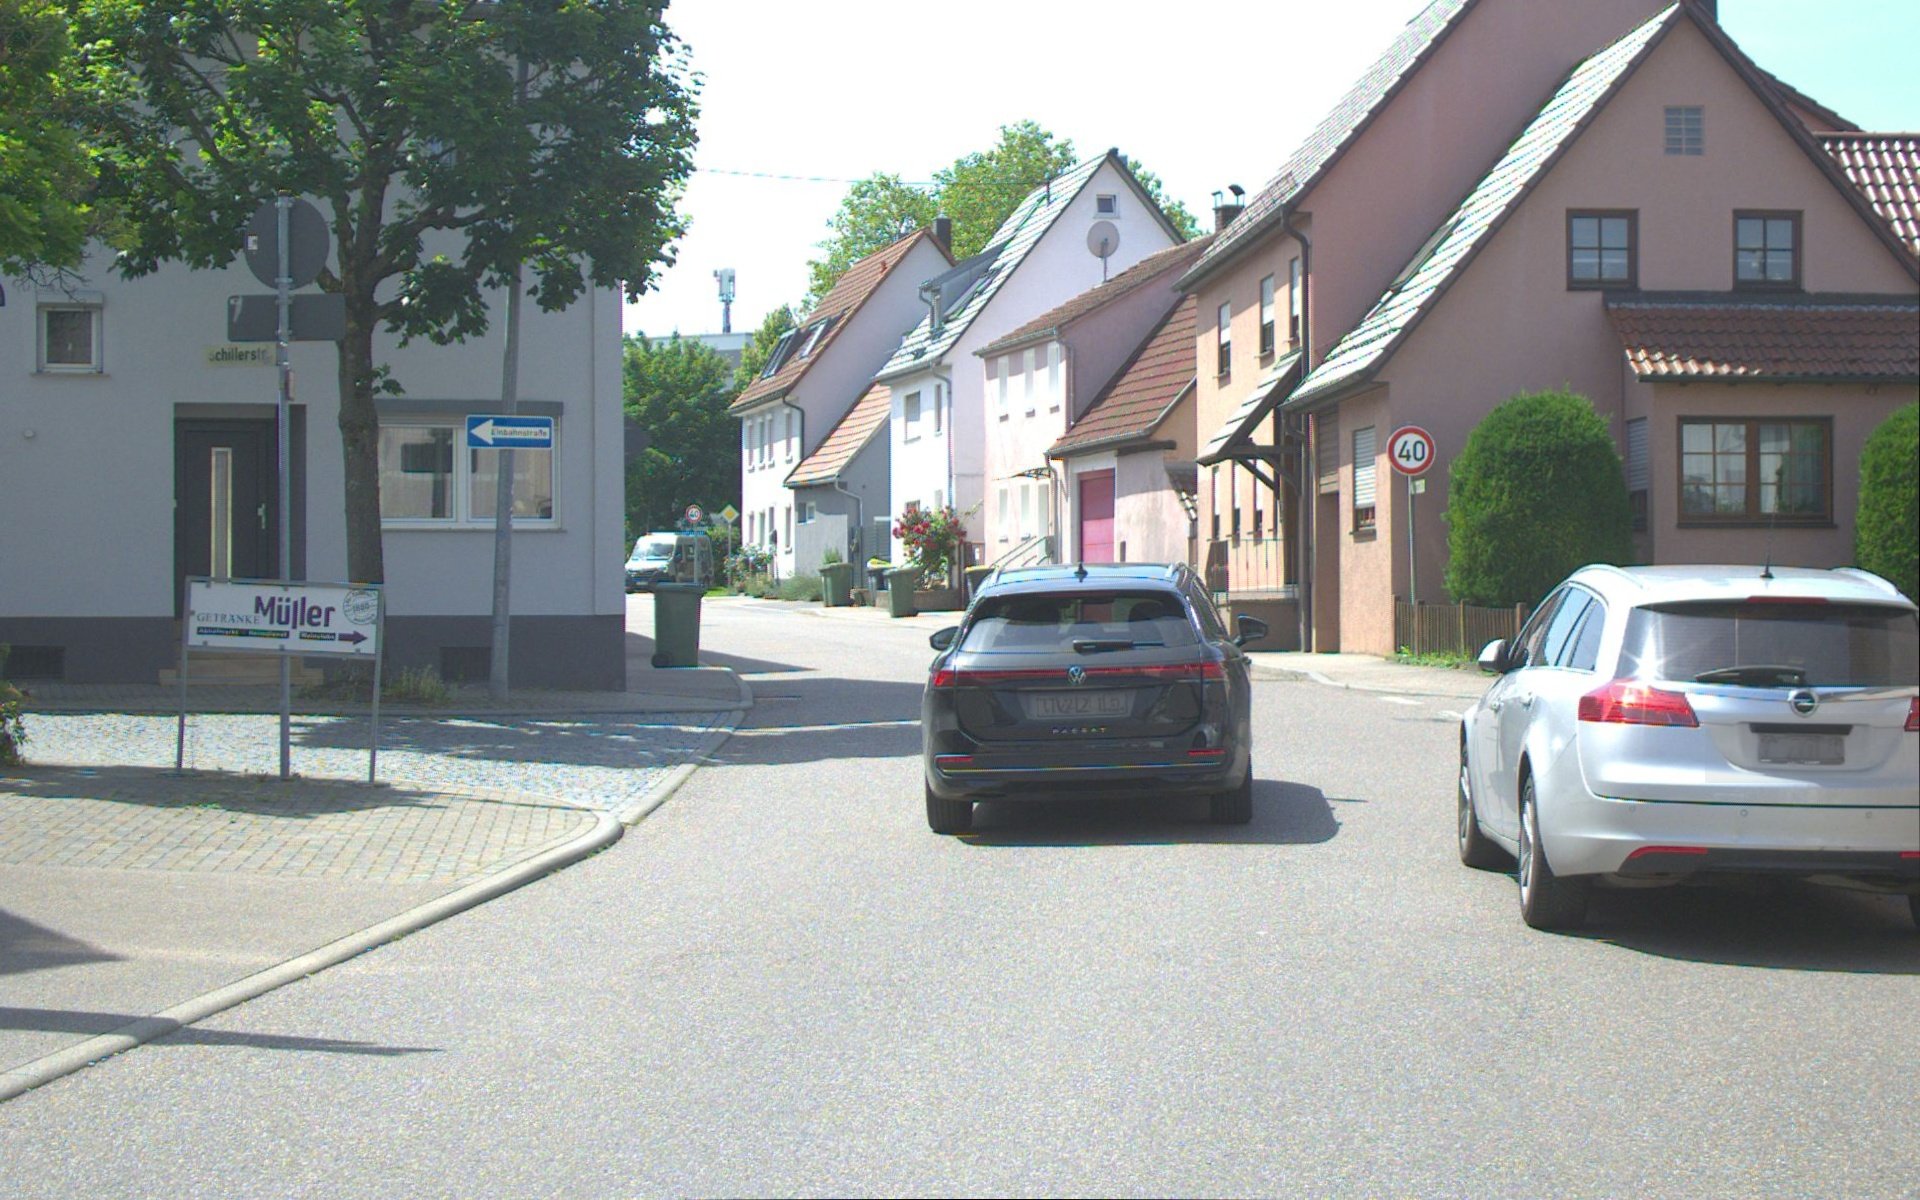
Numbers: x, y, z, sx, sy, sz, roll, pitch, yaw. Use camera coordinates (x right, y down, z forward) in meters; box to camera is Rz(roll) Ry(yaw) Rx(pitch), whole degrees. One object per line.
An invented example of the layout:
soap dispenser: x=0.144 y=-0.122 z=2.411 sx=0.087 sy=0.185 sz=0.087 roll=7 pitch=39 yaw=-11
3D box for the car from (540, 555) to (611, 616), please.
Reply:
car: x=-10.223 y=-0.397 z=91.158 sx=1.799 sy=1.550 sz=4.071 roll=0 pitch=1 yaw=-7

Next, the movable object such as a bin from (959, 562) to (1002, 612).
movable object such as a bin: x=0.444 y=-0.291 z=74.474 sx=0.678 sy=1.046 sz=0.835 roll=-4 pitch=2 yaw=-16

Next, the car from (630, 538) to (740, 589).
car: x=-11.202 y=-1.468 z=139.992 sx=3.986 sy=2.007 sz=2.000 roll=1 pitch=1 yaw=-24

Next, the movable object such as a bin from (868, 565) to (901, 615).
movable object such as a bin: x=-1.839 y=-0.247 z=83.762 sx=0.664 sy=1.190 sz=0.588 roll=1 pitch=0 yaw=-12

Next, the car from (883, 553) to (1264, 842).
car: x=0.783 y=0.471 z=19.952 sx=1.842 sy=1.415 sz=4.681 roll=-2 pitch=1 yaw=6

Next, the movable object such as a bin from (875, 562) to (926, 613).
movable object such as a bin: x=-1.305 y=-0.281 z=75.447 sx=0.875 sy=1.071 sz=0.873 roll=-4 pitch=2 yaw=-16

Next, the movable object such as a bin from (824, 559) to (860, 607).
movable object such as a bin: x=-2.899 y=-0.428 z=84.589 sx=0.678 sy=1.151 sz=0.820 roll=2 pitch=0 yaw=-16

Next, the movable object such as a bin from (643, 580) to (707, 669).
movable object such as a bin: x=-3.509 y=0.296 z=42.305 sx=0.753 sy=1.056 sz=0.680 roll=1 pitch=1 yaw=-5

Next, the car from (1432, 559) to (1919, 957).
car: x=3.166 y=0.567 z=14.975 sx=1.786 sy=1.437 sz=4.337 roll=2 pitch=1 yaw=3
